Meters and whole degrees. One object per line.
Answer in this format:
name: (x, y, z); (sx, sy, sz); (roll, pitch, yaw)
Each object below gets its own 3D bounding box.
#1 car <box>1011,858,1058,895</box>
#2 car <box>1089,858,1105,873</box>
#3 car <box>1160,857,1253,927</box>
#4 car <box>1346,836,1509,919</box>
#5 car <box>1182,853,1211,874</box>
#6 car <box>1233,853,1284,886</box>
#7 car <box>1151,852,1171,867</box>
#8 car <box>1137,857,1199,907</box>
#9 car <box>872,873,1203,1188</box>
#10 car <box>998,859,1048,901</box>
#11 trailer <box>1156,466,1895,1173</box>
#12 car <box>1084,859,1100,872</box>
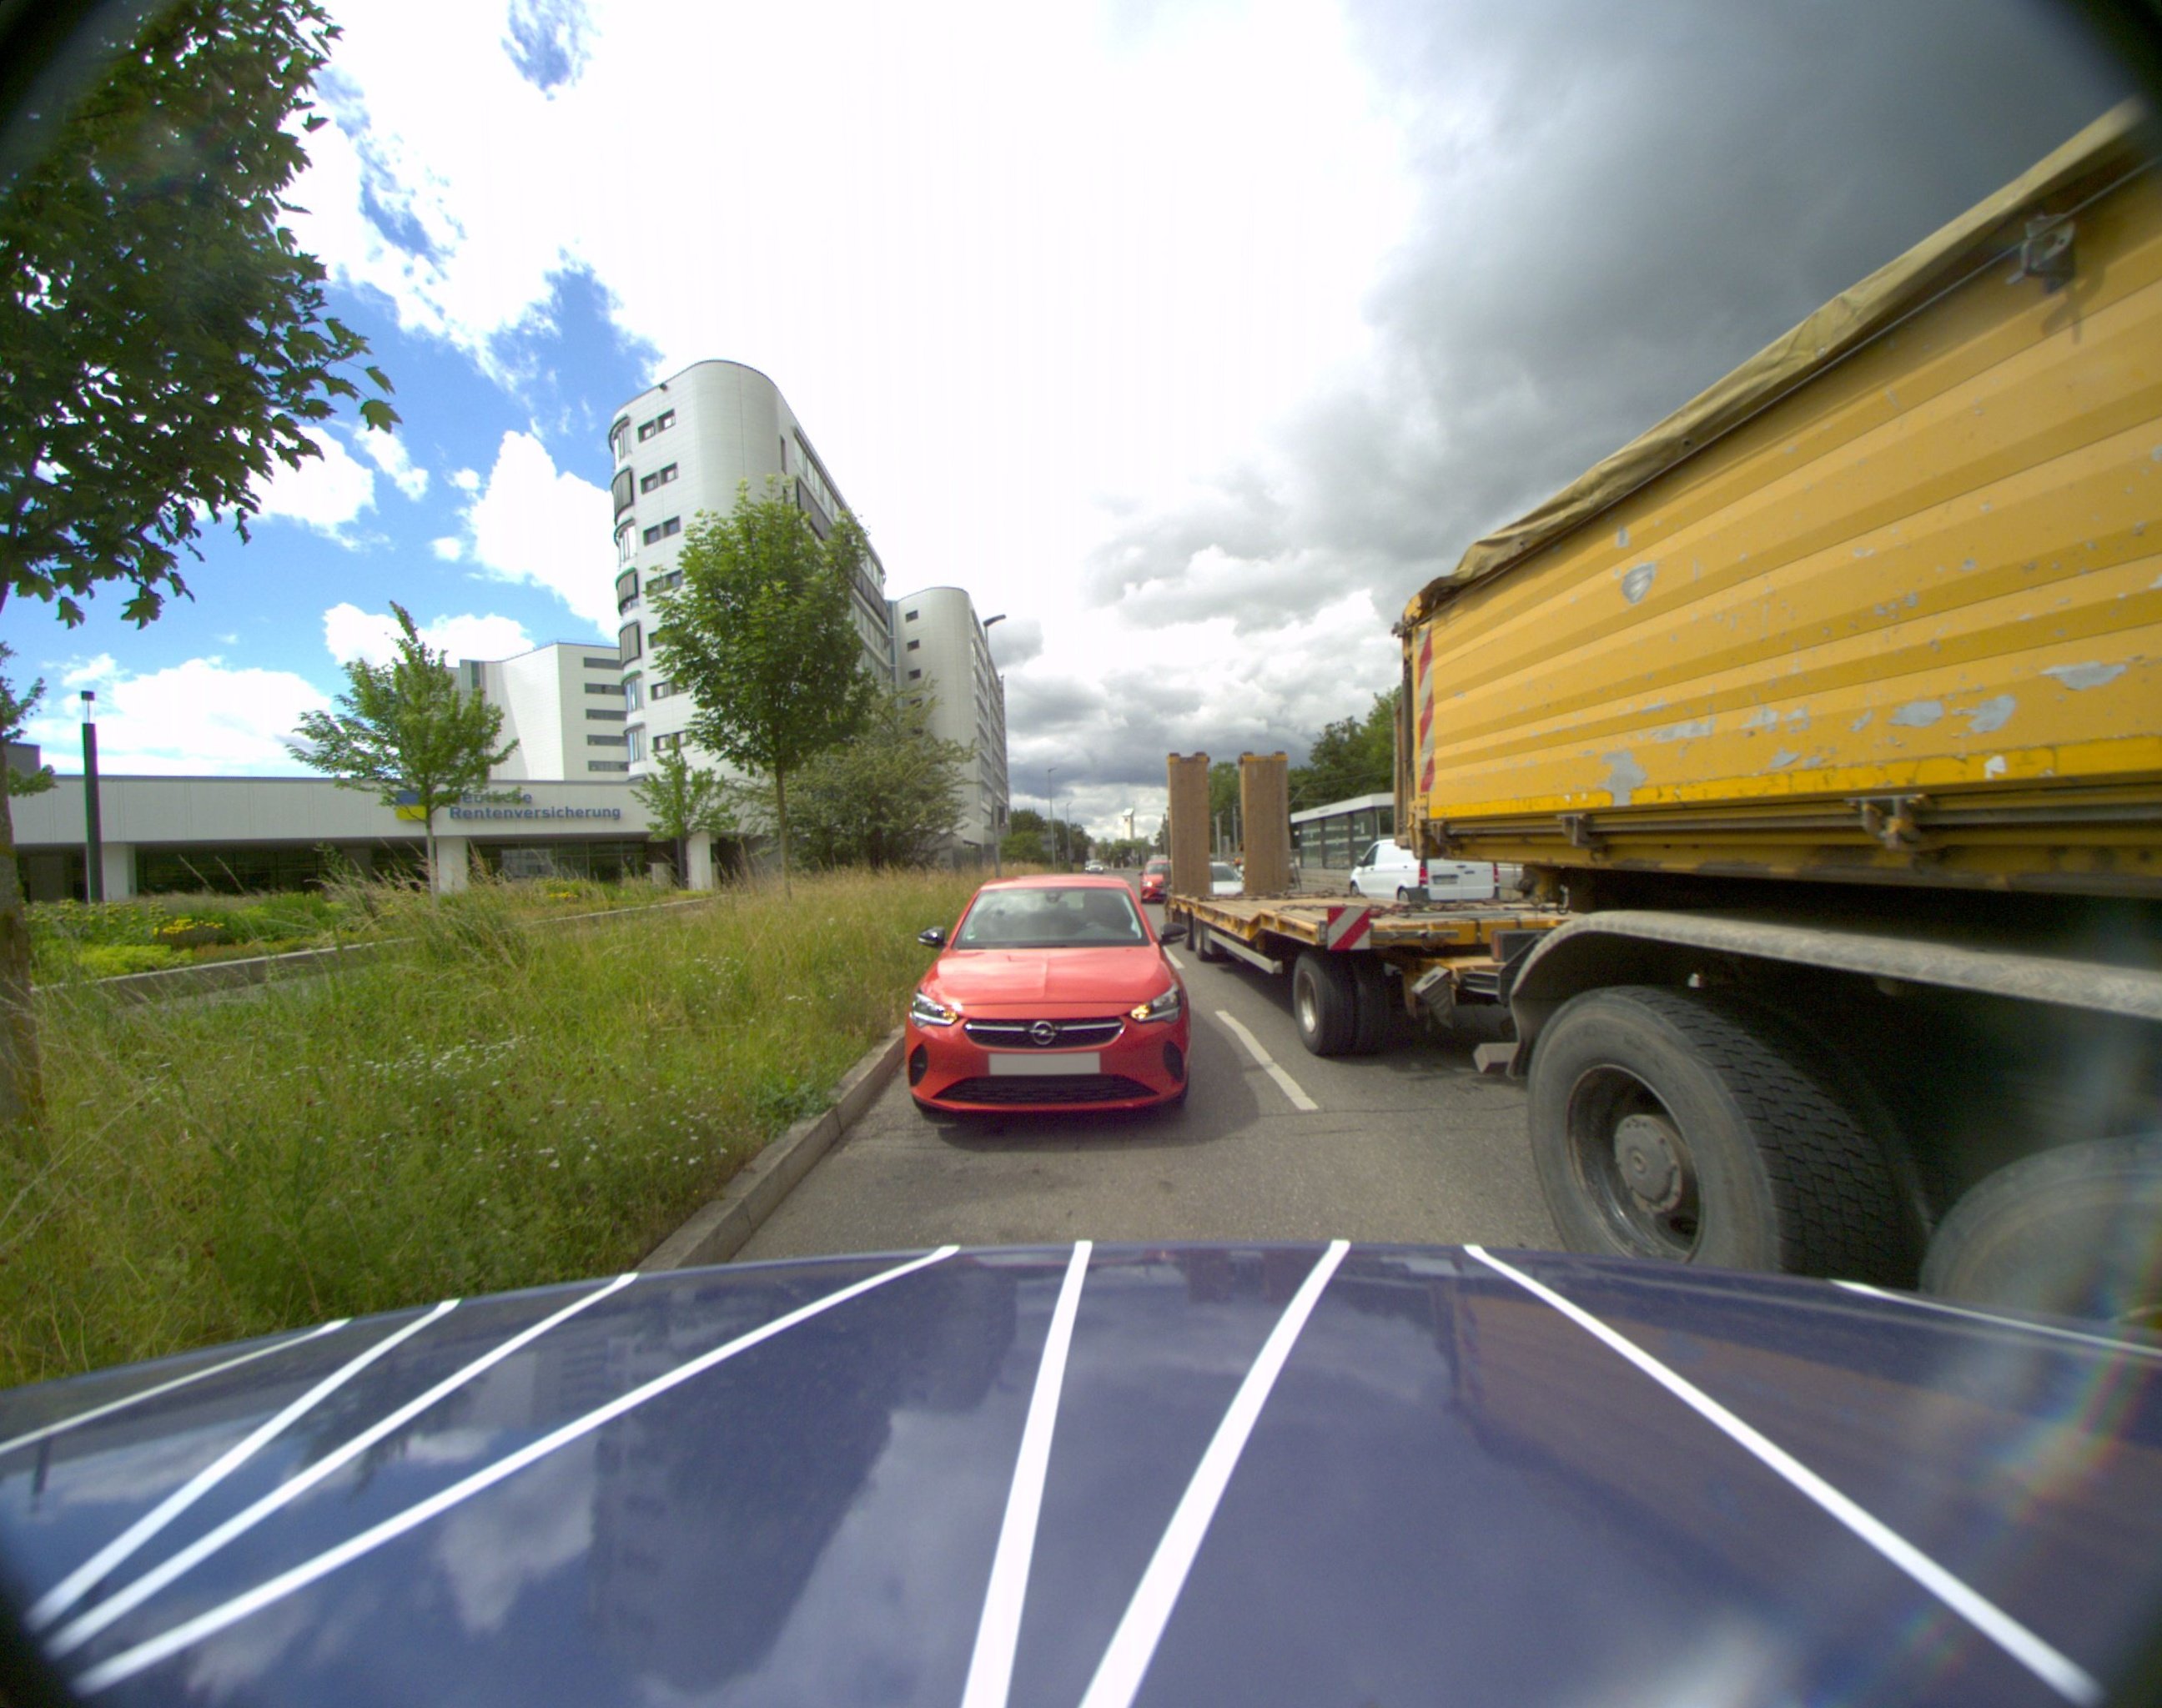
car: (-2.101, 0.995, 35.385); (1.850, 1.565, 4.623); (-2, 0, 0)
car: (1.764, 1.208, 84.058); (1.738, 1.565, 3.446); (-2, 0, 0)
car: (3.048, 0.873, 19.226); (1.692, 1.471, 3.999); (-2, 1, 1)
car: (8.494, 0.534, 19.194); (1.887, 1.761, 4.864); (-2, 0, 1)
car: (8.615, 0.717, 56.945); (1.644, 1.489, 3.554); (-2, 0, 1)
car: (8.672, 0.753, 37.400); (1.644, 1.489, 3.554); (-2, 0, 1)
car: (8.730, 0.596, 83.260); (1.770, 1.489, 3.554); (-2, 0, 1)
car: (2.900, 0.899, 26.086); (1.692, 1.471, 3.999); (-2, 1, 1)
car: (-0.202, 0.987, 6.018); (1.692, 1.471, 3.999); (-2, 1, 1)
car: (-2.289, 1.002, 30.659); (1.738, 1.565, 3.445); (-2, 0, 0)
trailer: (2.811, -0.166, 9.332); (2.713, 3.501, 10.914); (-2, 0, 1)
car: (1.713, 1.810, 120.849); (1.999, 2.002, 3.998); (-2, 0, -6)
